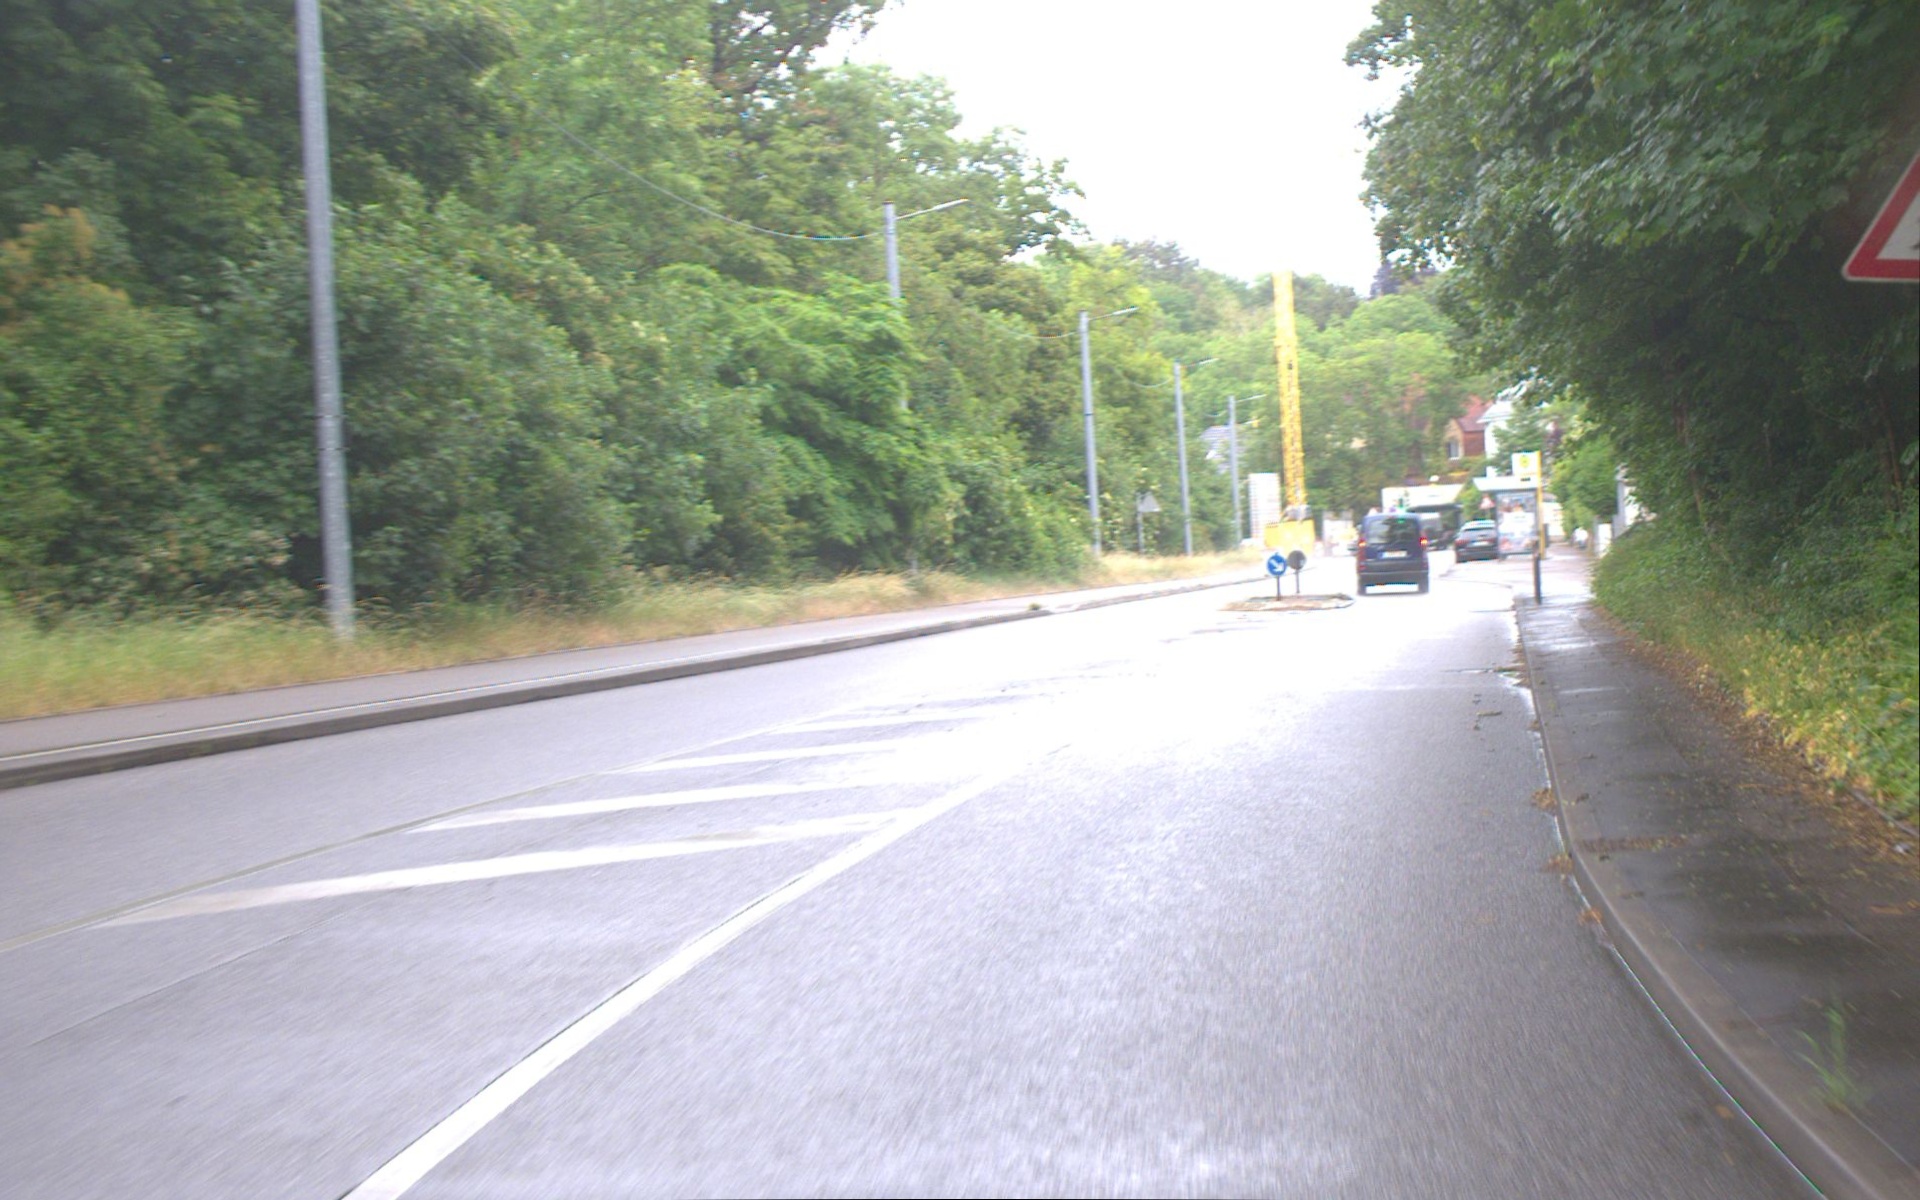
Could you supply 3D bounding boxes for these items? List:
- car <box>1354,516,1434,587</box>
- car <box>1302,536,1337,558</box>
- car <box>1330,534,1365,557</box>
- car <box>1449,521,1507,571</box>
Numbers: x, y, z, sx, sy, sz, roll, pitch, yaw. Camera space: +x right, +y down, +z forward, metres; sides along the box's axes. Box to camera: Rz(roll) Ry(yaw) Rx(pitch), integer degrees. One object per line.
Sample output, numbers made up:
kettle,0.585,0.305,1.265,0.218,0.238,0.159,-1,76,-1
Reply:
car,10.007,-1.115,79.139,1.668,1.588,3.681,0,1,10
car,25.366,-3.735,242.657,1.739,1.546,3.856,-2,1,-4
car,26.456,-3.688,234.790,1.739,1.547,3.856,0,1,-4
car,18.870,-1.962,125.197,1.994,1.766,4.113,0,1,10
